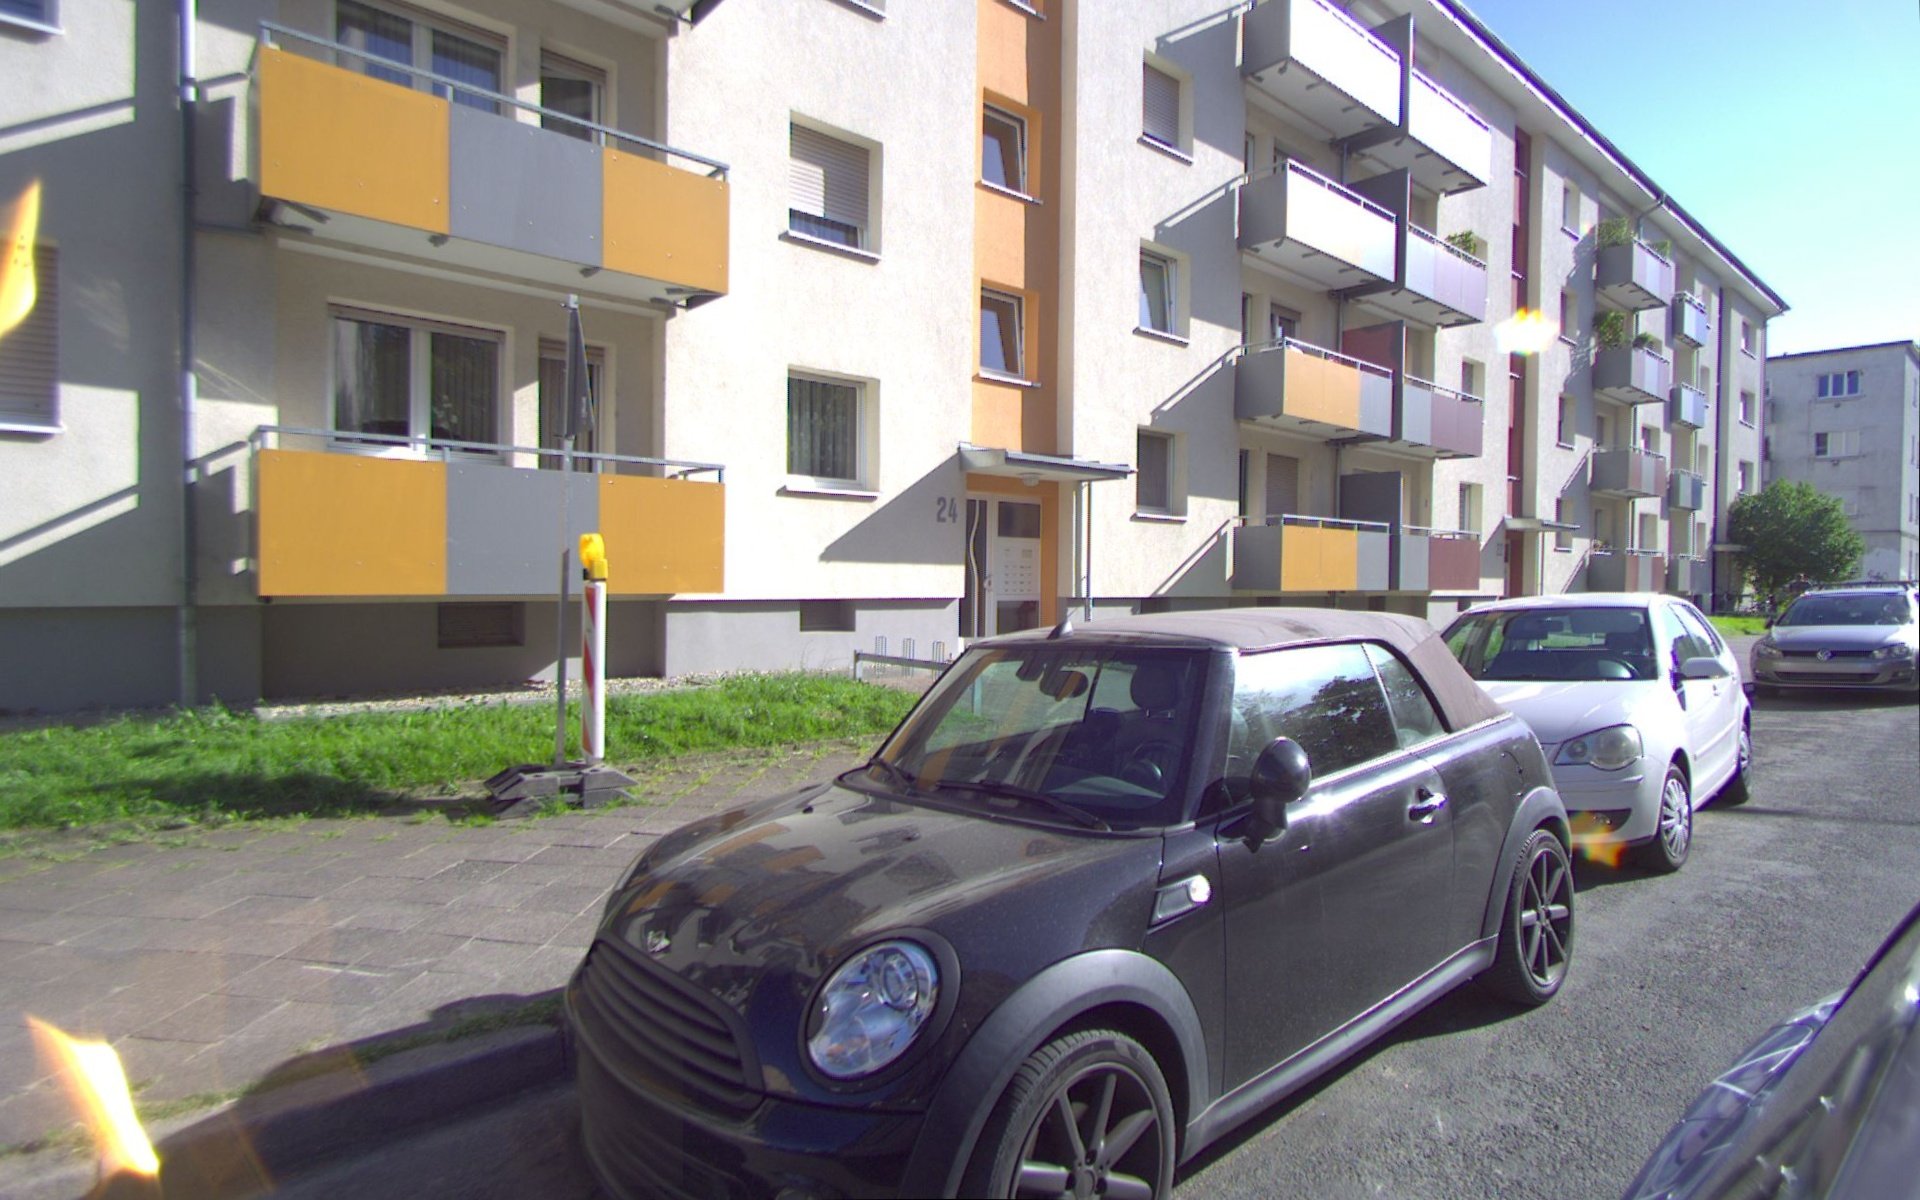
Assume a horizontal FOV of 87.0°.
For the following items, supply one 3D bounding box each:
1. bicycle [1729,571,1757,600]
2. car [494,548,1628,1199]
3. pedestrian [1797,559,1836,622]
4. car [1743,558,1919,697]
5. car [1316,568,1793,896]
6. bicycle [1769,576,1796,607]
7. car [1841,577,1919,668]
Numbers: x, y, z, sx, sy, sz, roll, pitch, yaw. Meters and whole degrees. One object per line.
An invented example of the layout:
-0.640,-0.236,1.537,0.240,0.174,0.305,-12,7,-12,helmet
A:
27.629,-0.520,35.714,2.247,0.972,0.485,-2,1,-45,bicycle
0.590,0.678,3.366,3.520,1.486,1.690,-3,-3,-40,car
24.762,-0.277,29.250,0.826,1.794,0.646,-2,0,-38,pedestrian
12.583,0.291,14.035,4.525,1.642,1.900,-2,-2,-42,car
4.046,0.599,6.610,3.757,1.481,1.686,-2,-1,-44,car
28.303,-0.298,34.803,2.247,1.024,0.485,-2,1,-45,bicycle
17.830,0.343,18.591,4.443,1.462,1.756,-2,0,-39,car
